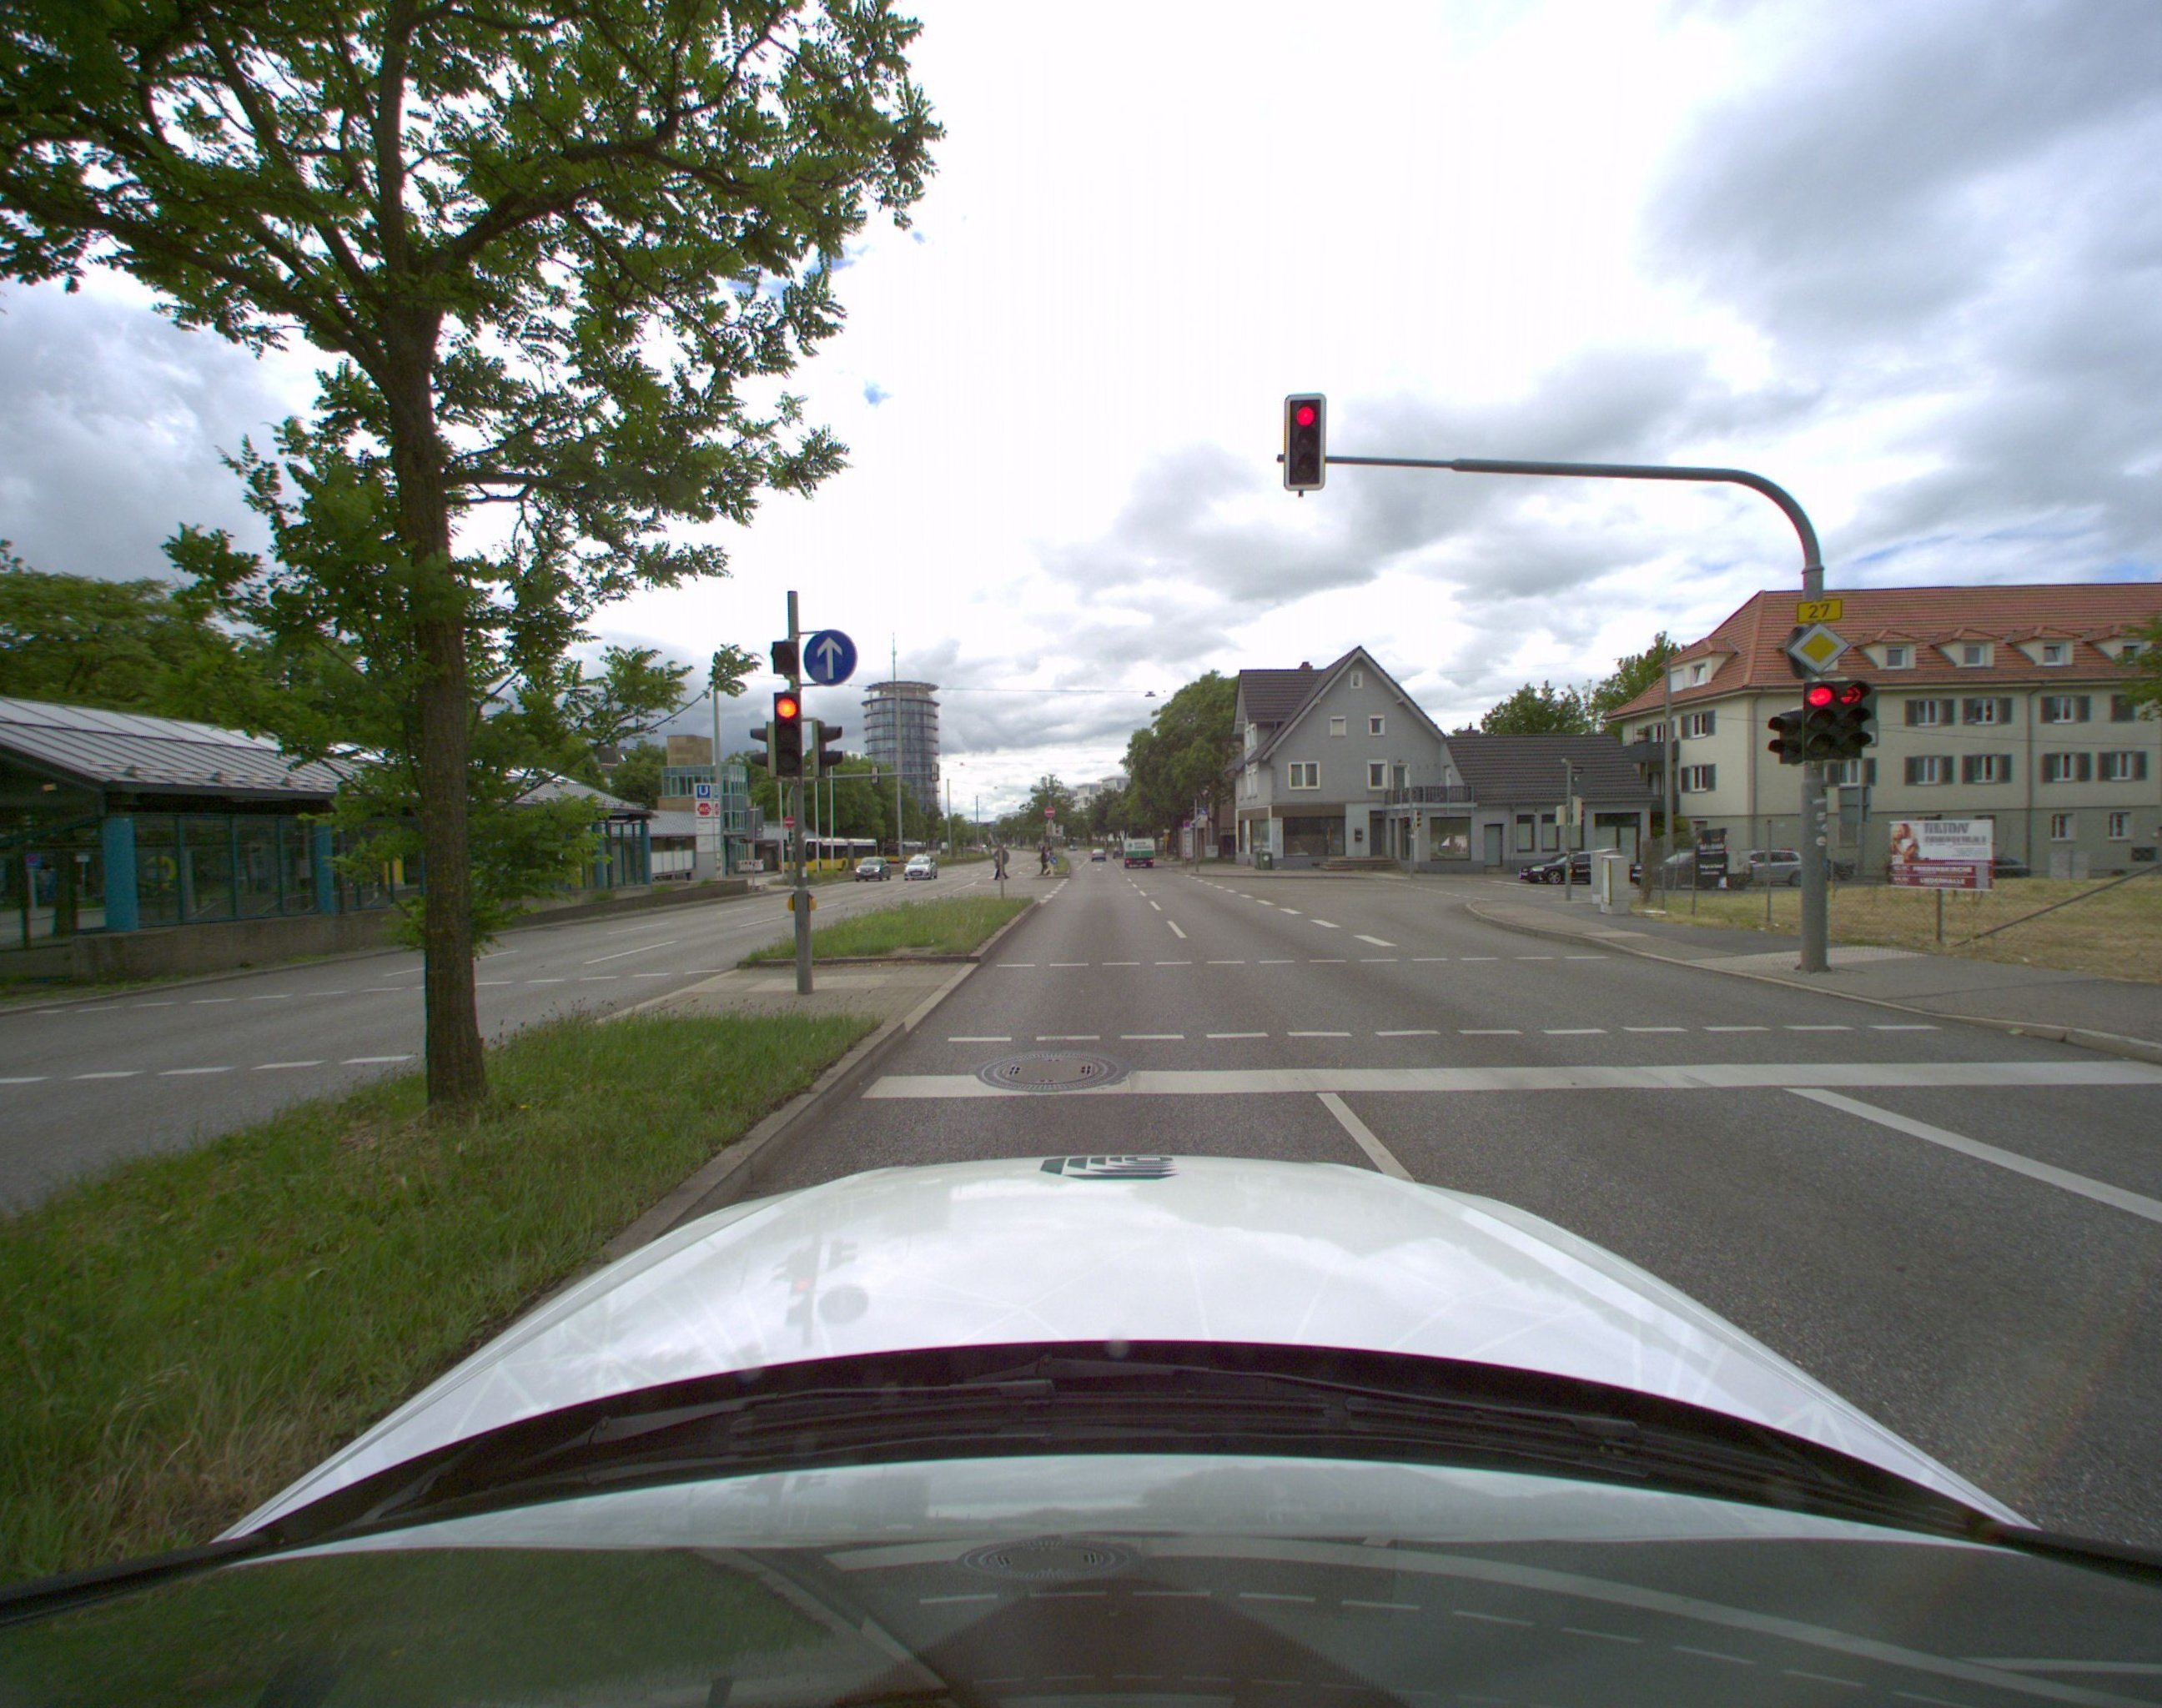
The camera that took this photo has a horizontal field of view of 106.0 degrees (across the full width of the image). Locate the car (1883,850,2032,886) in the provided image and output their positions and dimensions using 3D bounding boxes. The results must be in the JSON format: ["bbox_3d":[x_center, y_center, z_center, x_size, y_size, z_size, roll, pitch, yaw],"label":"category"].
[{"bbox_3d":[34.876,0.544,32.480,4.075,1.371,1.800,0,0,0],"label":"car"}]

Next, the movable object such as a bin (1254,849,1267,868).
[{"bbox_3d":[10.006,0.228,45.335,0.613,1.043,0.590,0,0,3],"label":"movable object such as a bin"}]

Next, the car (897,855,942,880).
[{"bbox_3d":[-10.283,0.837,52.188,1.987,1.486,4.000,-2,0,0],"label":"car"}]

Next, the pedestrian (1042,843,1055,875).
[{"bbox_3d":[-1.786,0.269,44.896,0.652,1.716,0.451,-2,0,-6],"label":"pedestrian"}]

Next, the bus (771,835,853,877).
[{"bbox_3d":[-24.157,0.161,73.968,2.817,3.430,10.751,-2,0,6],"label":"bus"}]

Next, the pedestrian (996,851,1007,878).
[{"bbox_3d":[-4.420,0.594,45.346,0.543,1.496,0.485,-2,0,-8],"label":"pedestrian"}]

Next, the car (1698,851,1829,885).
[{"bbox_3d":[28.812,0.586,34.479,4.075,1.371,1.800,0,0,0],"label":"car"}]

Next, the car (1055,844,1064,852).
[{"bbox_3d":[-4.727,-1.285,177.364,1.988,1.519,3.997,-2,0,-2],"label":"car"}]

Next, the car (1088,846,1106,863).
[{"bbox_3d":[1.876,0.032,92.712,1.986,1.830,4.001,-1,0,1],"label":"car"}]

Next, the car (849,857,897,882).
[{"bbox_3d":[-13.399,0.958,52.625,1.987,1.486,4.000,-2,0,0],"label":"car"}]

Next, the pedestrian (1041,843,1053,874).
[{"bbox_3d":[-1.943,0.275,46.122,0.582,1.716,0.545,-2,0,-5],"label":"pedestrian"}]

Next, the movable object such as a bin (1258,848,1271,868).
[{"bbox_3d":[10.030,0.226,44.507,0.602,1.059,0.590,0,0,3],"label":"movable object such as a bin"}]

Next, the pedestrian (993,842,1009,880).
[{"bbox_3d":[-4.351,0.365,44.459,0.828,2.013,0.545,-2,0,-6],"label":"pedestrian"}]

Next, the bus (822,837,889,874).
[{"bbox_3d":[-23.114,0.122,84.170,2.817,3.430,10.751,-2,0,6],"label":"bus"}]

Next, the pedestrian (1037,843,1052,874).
[{"bbox_3d":[-2.046,0.239,45.405,0.744,1.716,0.582,-2,0,-6],"label":"pedestrian"}]

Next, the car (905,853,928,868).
[{"bbox_3d":[-19.864,0.775,98.310,1.800,1.662,4.001,-2,0,1],"label":"car"}]

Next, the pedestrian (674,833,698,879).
[{"bbox_3d":[-17.295,0.084,35.688,0.680,2.013,0.645,-2,0,-3],"label":"pedestrian"}]

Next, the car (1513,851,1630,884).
[{"bbox_3d":[21.301,0.559,35.480,4.075,1.371,1.800,0,0,0],"label":"car"}]

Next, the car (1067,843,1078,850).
[{"bbox_3d":[-2.090,-1.747,199.736,1.992,1.552,3.990,-2,0,-7],"label":"car"}]

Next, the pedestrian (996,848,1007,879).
[{"bbox_3d":[-4.506,0.550,46.197,0.611,1.716,0.545,-2,0,-5],"label":"pedestrian"}]

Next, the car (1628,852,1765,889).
[{"bbox_3d":[24.263,0.628,32.194,4.075,1.371,1.800,0,0,0],"label":"car"}]

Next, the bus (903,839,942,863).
[{"bbox_3d":[-24.517,-0.451,126.506,2.817,3.430,10.751,-2,0,6],"label":"bus"}]

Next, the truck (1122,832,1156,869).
[{"bbox_3d":[4.345,-0.326,62.093,2.461,2.611,6.553,0,1,3],"label":"truck"}]

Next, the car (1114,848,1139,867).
[{"bbox_3d":[3.715,0.286,67.381,1.986,1.552,4.001,0,0,1],"label":"car"}]

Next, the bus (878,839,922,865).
[{"bbox_3d":[-25.603,-0.306,115.784,2.817,3.430,10.751,-2,0,6],"label":"bus"}]

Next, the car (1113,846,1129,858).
[{"bbox_3d":[5.122,-0.290,104.685,1.986,1.552,4.001,0,0,1],"label":"car"}]
